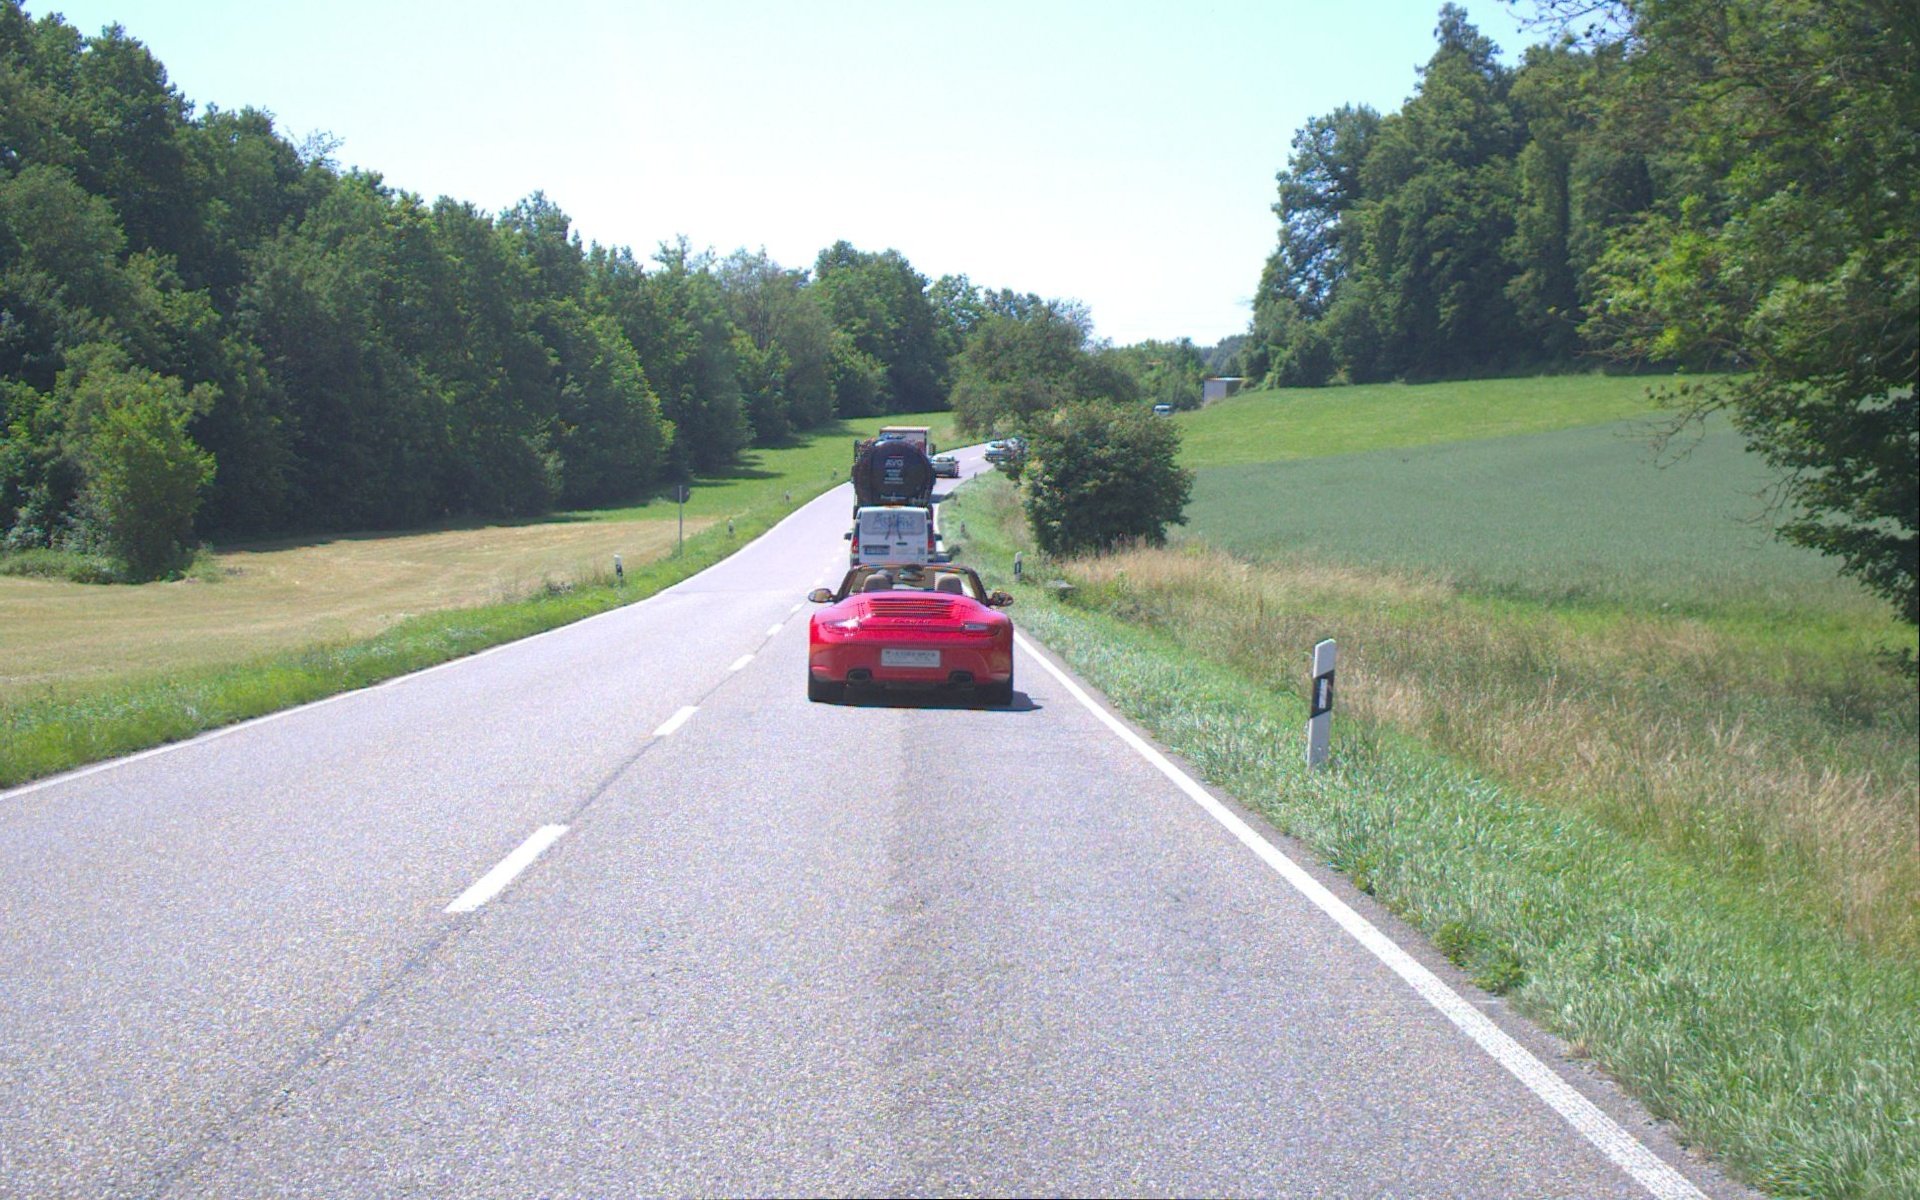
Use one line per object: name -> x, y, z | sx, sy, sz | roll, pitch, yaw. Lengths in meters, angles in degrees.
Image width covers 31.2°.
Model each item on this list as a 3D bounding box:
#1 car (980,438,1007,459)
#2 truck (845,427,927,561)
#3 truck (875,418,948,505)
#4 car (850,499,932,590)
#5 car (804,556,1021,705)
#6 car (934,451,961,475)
car -> 2.563, -11.552, 261.292 | 1.698, 1.491, 3.711 | -2, 3, 5
truck -> -2.508, -3.602, 113.114 | 2.404, 4.035, 12.553 | -2, 3, -2
truck -> -2.825, -7.976, 195.881 | 3.725, 4.644, 12.034 | -2, 3, -2
car -> -1.512, -1.253, 76.714 | 1.678, 1.894, 4.010 | -3, 1, 0
car -> -0.455, 0.244, 32.113 | 1.882, 1.251, 4.010 | 1, 1, -1
car -> -0.862, -9.298, 233.911 | 1.697, 1.491, 3.712 | -2, 3, 0
